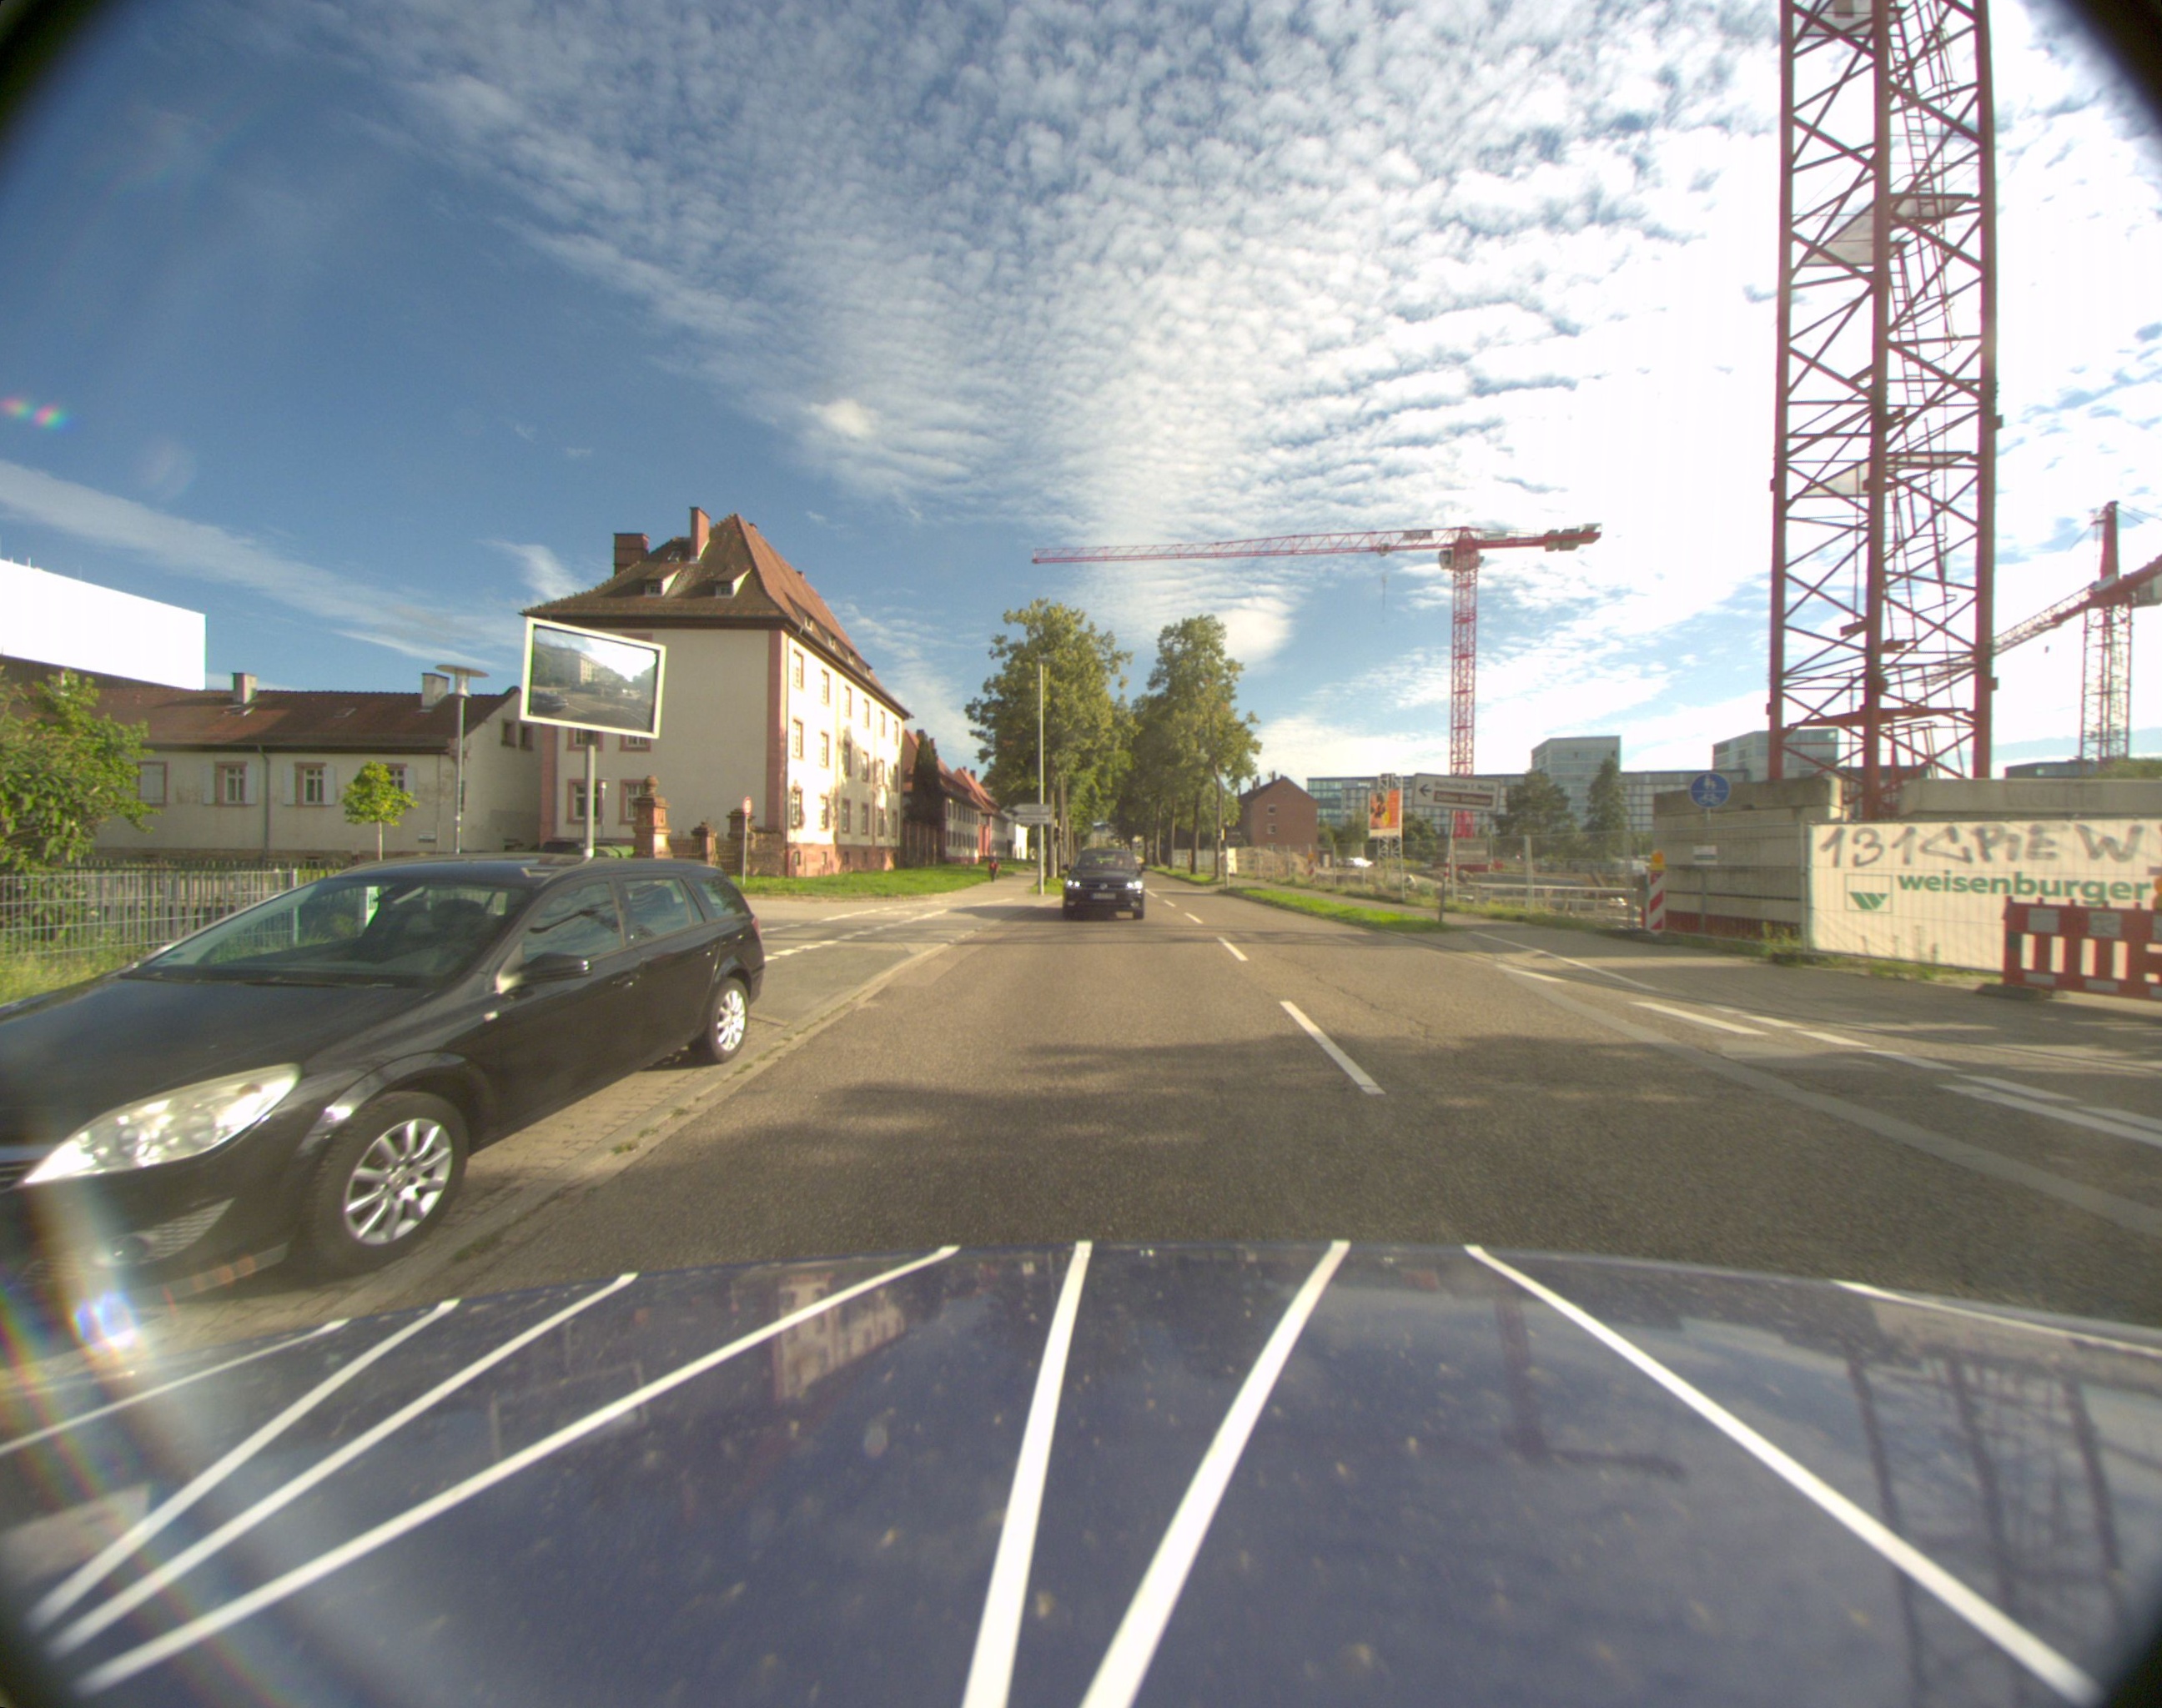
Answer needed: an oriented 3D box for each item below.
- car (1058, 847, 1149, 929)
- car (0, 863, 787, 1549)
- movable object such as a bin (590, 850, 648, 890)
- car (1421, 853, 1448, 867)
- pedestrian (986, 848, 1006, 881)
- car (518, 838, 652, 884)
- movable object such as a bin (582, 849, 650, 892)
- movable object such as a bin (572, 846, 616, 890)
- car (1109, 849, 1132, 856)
[{"bbox_3d":[0.533,0.696,17.461,1.821,1.648,4.243,-1,0,2],"label":"car"},{"bbox_3d":[-3.271,0.866,3.950,1.721,1.487,4.268,2,1,1],"label":"car"},{"bbox_3d":[-14.810,0.499,24.392,1.194,1.224,1.093,0,1,-3],"label":"movable object such as a bin"},{"bbox_3d":[50.330,0.777,108.269,1.817,1.797,3.981,-1,2,-5],"label":"car"},{"bbox_3d":[-4.153,0.508,37.322,0.816,1.581,0.769,3,1,0],"label":"pedestrian"},{"bbox_3d":[-18.999,0.251,29.406,1.998,1.599,4.506,2,0,3],"label":"car"},{"bbox_3d":[-16.058,0.552,26.281,1.417,1.451,1.543,0,1,-3],"label":"movable object such as a bin"},{"bbox_3d":[-15.870,0.448,24.788,0.832,1.415,0.942,0,1,-3],"label":"movable object such as a bin"},{"bbox_3d":[10.965,-0.397,210.809,2.483,1.856,6.234,-1,1,-43],"label":"car"}]
